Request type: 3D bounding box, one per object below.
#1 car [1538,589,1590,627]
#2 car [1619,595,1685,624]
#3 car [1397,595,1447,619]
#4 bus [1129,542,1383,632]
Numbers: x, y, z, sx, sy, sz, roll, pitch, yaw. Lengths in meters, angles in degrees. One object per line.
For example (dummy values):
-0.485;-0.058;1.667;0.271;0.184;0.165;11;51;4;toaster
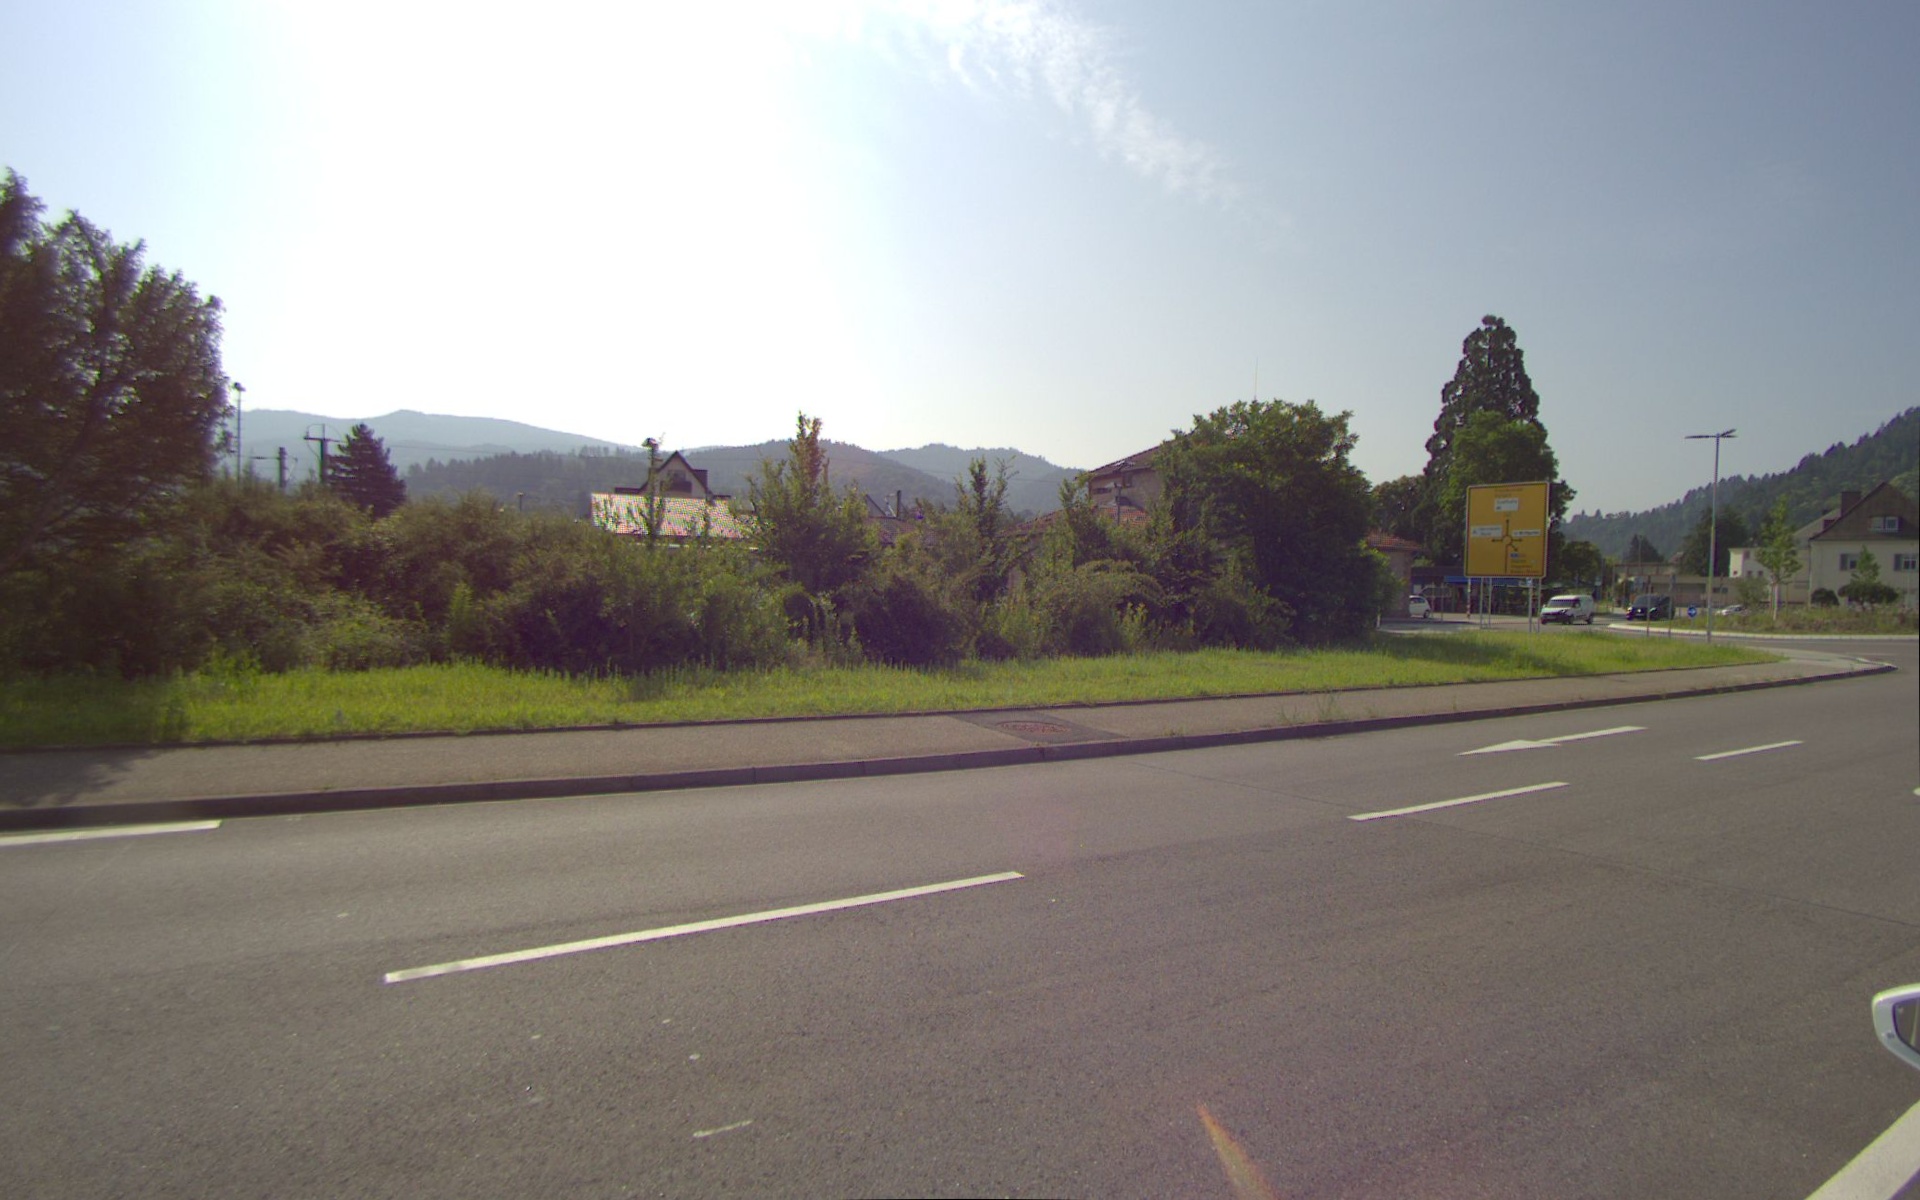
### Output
38.617;0.487;64.201;1.787;2.106;4.573;3;5;45;car
50.239;0.679;72.894;4.817;1.972;1.833;1;0;-26;car
32.587;0.493;70.830;3.495;1.469;1.382;4;0;-29;car
11.948;-0.468;39.651;11.603;3.165;3.044;0;1;-35;bus
